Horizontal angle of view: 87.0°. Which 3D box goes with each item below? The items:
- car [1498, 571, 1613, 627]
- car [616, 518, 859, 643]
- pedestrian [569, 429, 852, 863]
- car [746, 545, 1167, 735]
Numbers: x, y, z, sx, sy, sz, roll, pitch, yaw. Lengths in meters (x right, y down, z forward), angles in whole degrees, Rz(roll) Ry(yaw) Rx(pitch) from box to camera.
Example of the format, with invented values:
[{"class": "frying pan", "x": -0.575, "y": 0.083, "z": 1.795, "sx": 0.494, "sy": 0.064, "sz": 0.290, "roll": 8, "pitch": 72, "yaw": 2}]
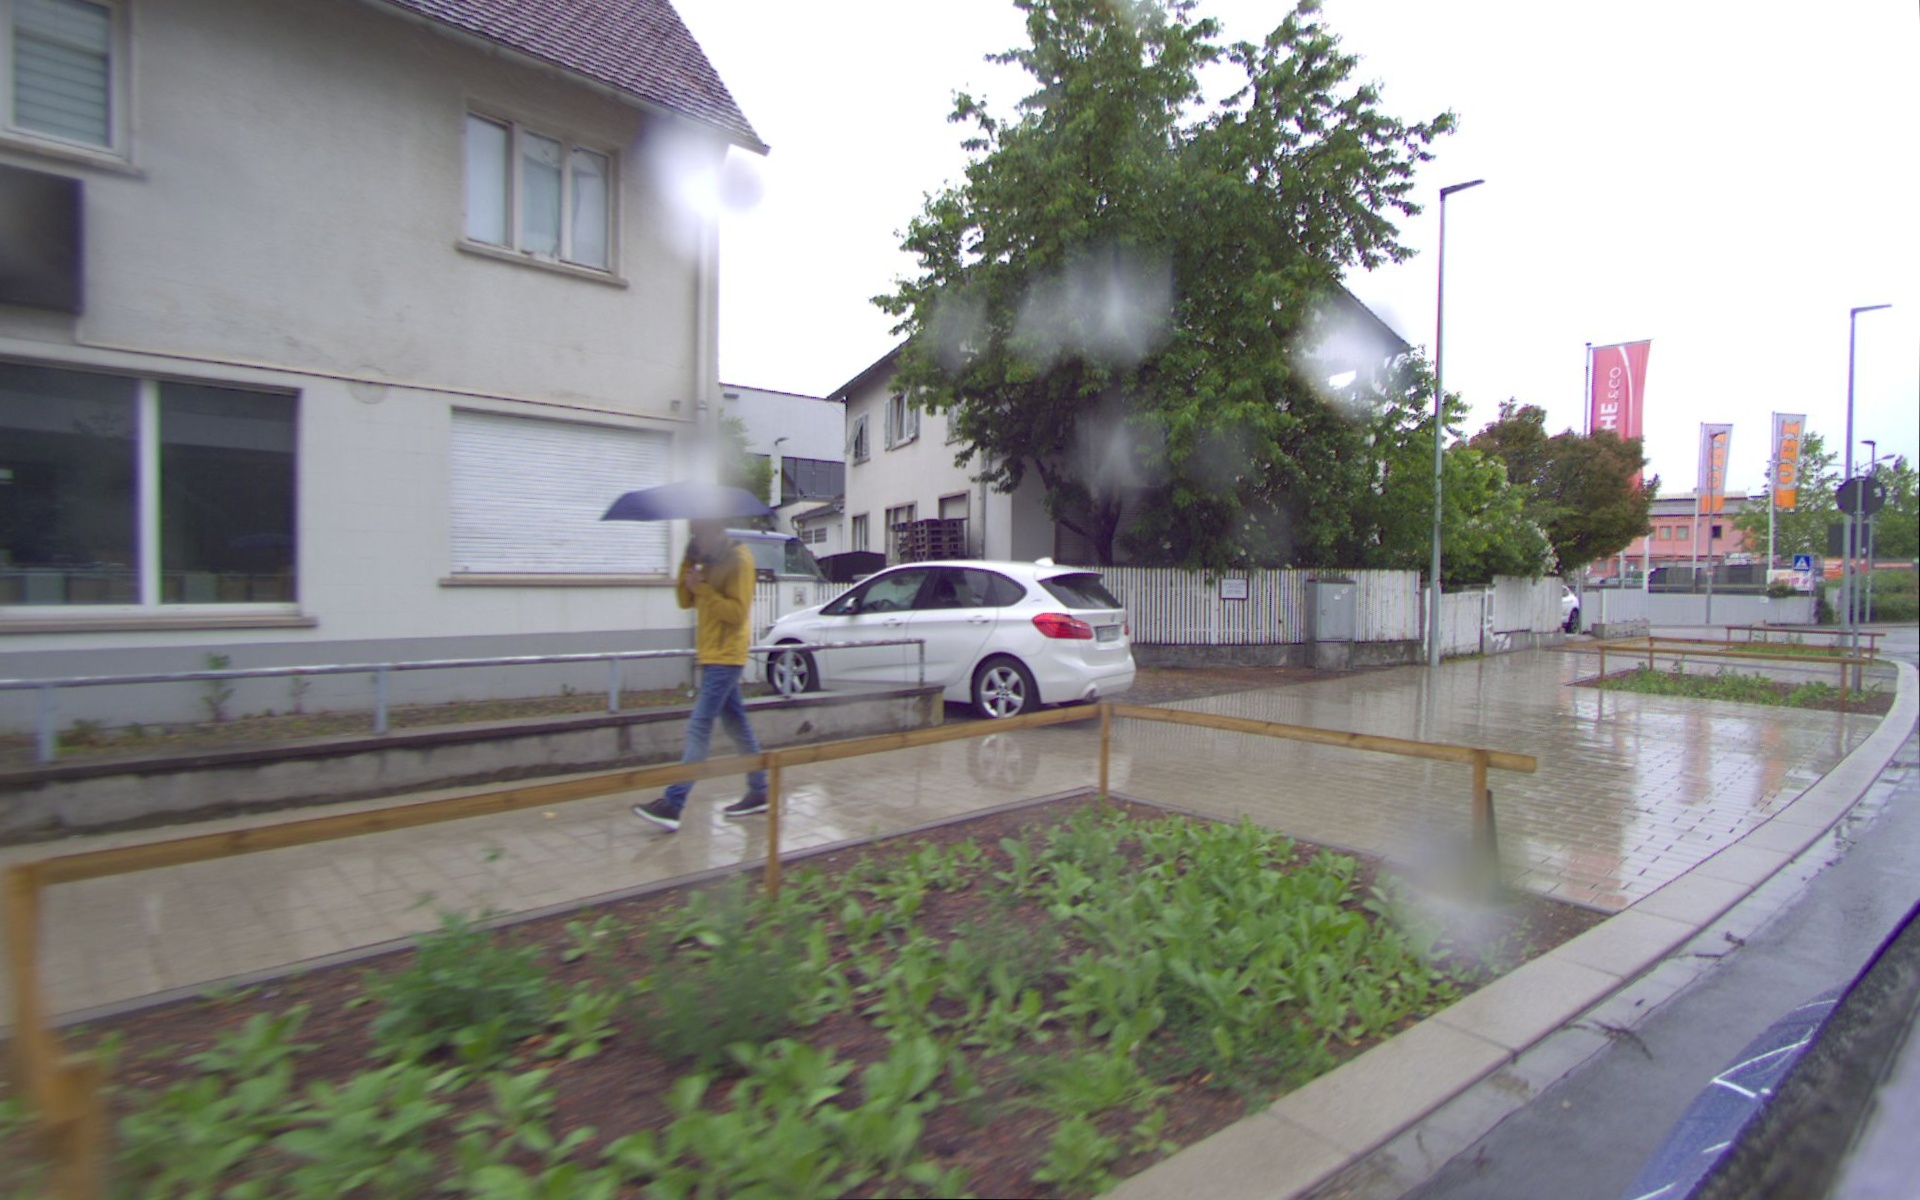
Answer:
[{"class": "car", "x": 19.521, "y": -0.046, "z": 33.131, "sx": 4.094, "sy": 1.712, "sz": 1.846, "roll": 0, "pitch": 1, "yaw": -38}, {"class": "car", "x": -4.264, "y": -0.434, "z": 18.888, "sx": 4.843, "sy": 2.045, "sz": 2.088, "roll": 4, "pitch": 2, "yaw": 44}, {"class": "pedestrian", "x": -1.338, "y": 0.194, "z": 5.463, "sx": 0.859, "sy": 2.038, "sz": 1.176, "roll": 4, "pitch": 3, "yaw": 45}, {"class": "car", "x": -0.099, "y": 0.280, "z": 10.877, "sx": 4.113, "sy": 1.600, "sz": 1.977, "roll": 3, "pitch": 2, "yaw": 33}]
